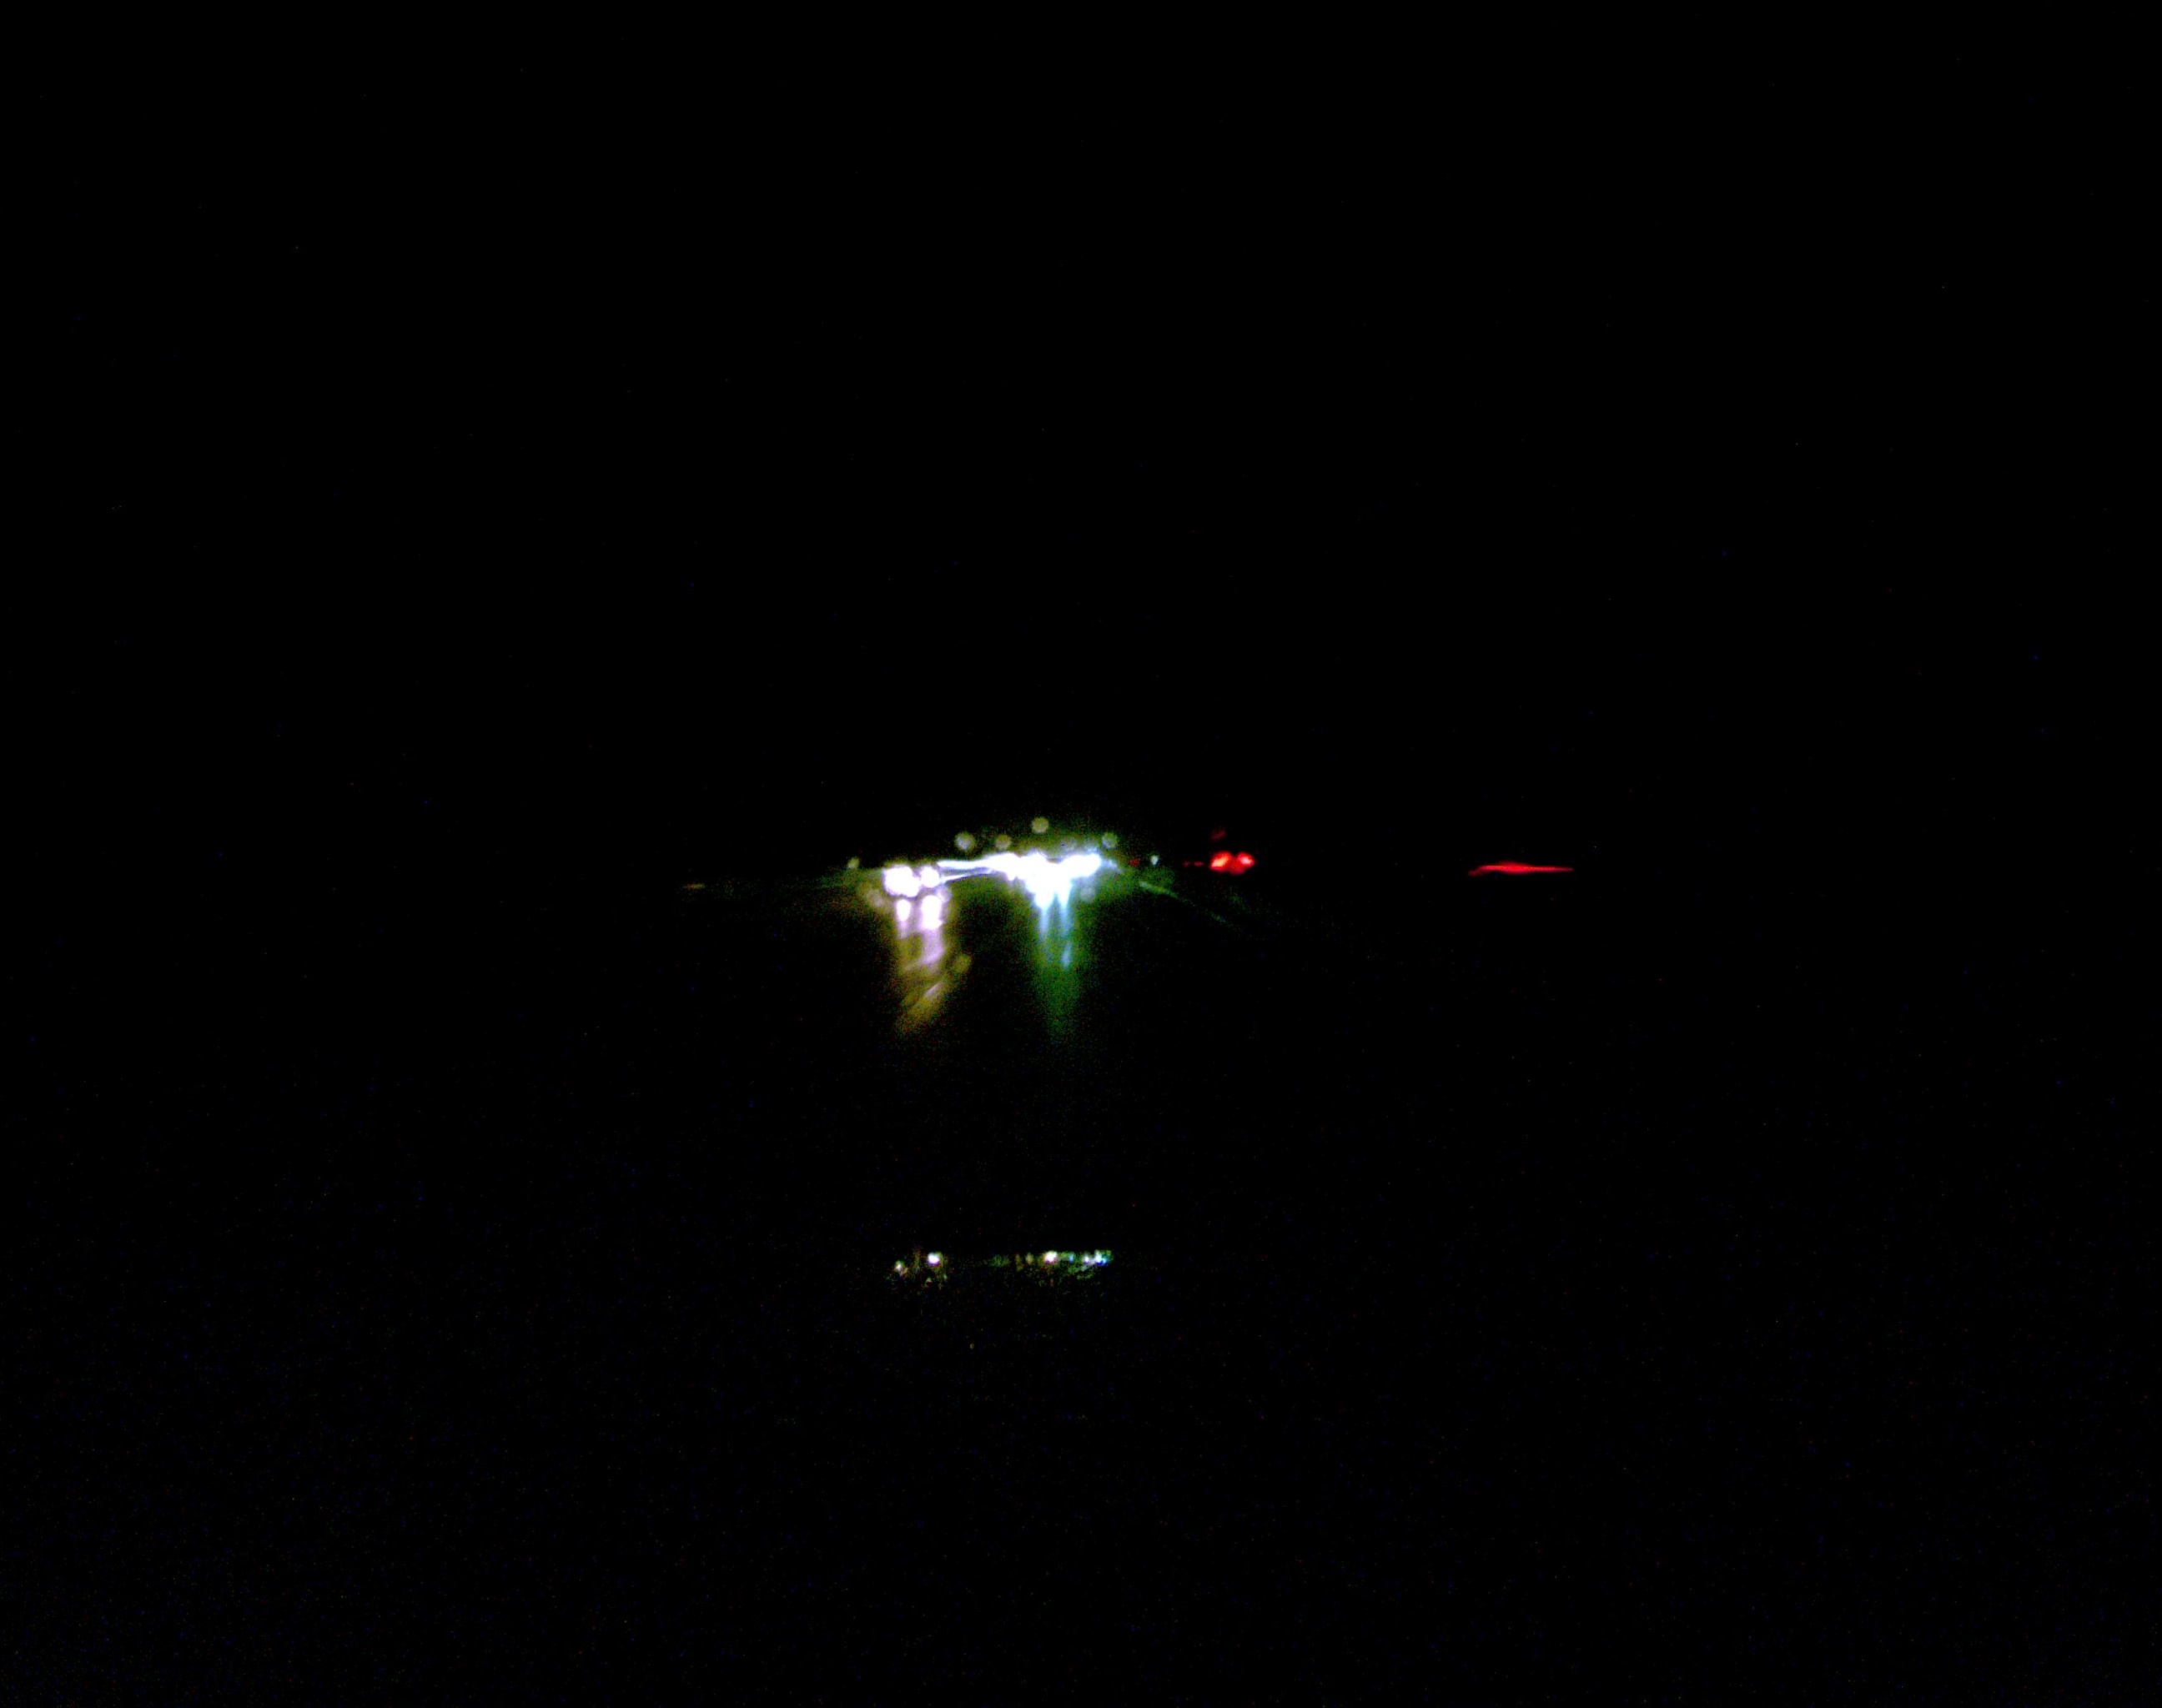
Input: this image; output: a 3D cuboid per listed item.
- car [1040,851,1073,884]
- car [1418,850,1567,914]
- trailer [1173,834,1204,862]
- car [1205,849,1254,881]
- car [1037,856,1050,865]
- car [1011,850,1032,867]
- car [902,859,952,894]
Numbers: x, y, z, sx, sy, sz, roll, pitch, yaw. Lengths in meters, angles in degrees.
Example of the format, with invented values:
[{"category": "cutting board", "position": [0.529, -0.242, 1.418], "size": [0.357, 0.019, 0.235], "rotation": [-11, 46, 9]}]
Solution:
[{"category": "car", "position": [-1.627, 0.849, 50.097], "size": [1.999, 2.002, 3.999], "rotation": [-2, 0, -3]}, {"category": "car", "position": [13.123, 0.801, 24.716], "size": [1.998, 1.729, 5.235], "rotation": [-3, 0, 1]}, {"category": "trailer", "position": [18.148, -0.942, 128.957], "size": [2.980, 4.243, 14.862], "rotation": [-5, 0, 1]}, {"category": "car", "position": [8.809, 0.603, 45.489], "size": [1.999, 1.729, 3.999], "rotation": [-3, 0, -1]}, {"category": "car", "position": [-7.049, 1.265, 144.549], "size": [1.882, 1.653, 4.002], "rotation": [-3, -1, 4]}, {"category": "car", "position": [-6.744, 0.553, 86.531], "size": [1.832, 1.835, 4.699], "rotation": [-3, -1, 0]}, {"category": "car", "position": [-7.105, 1.021, 35.344], "size": [1.644, 1.494, 4.012], "rotation": [-1, 0, -2]}]
